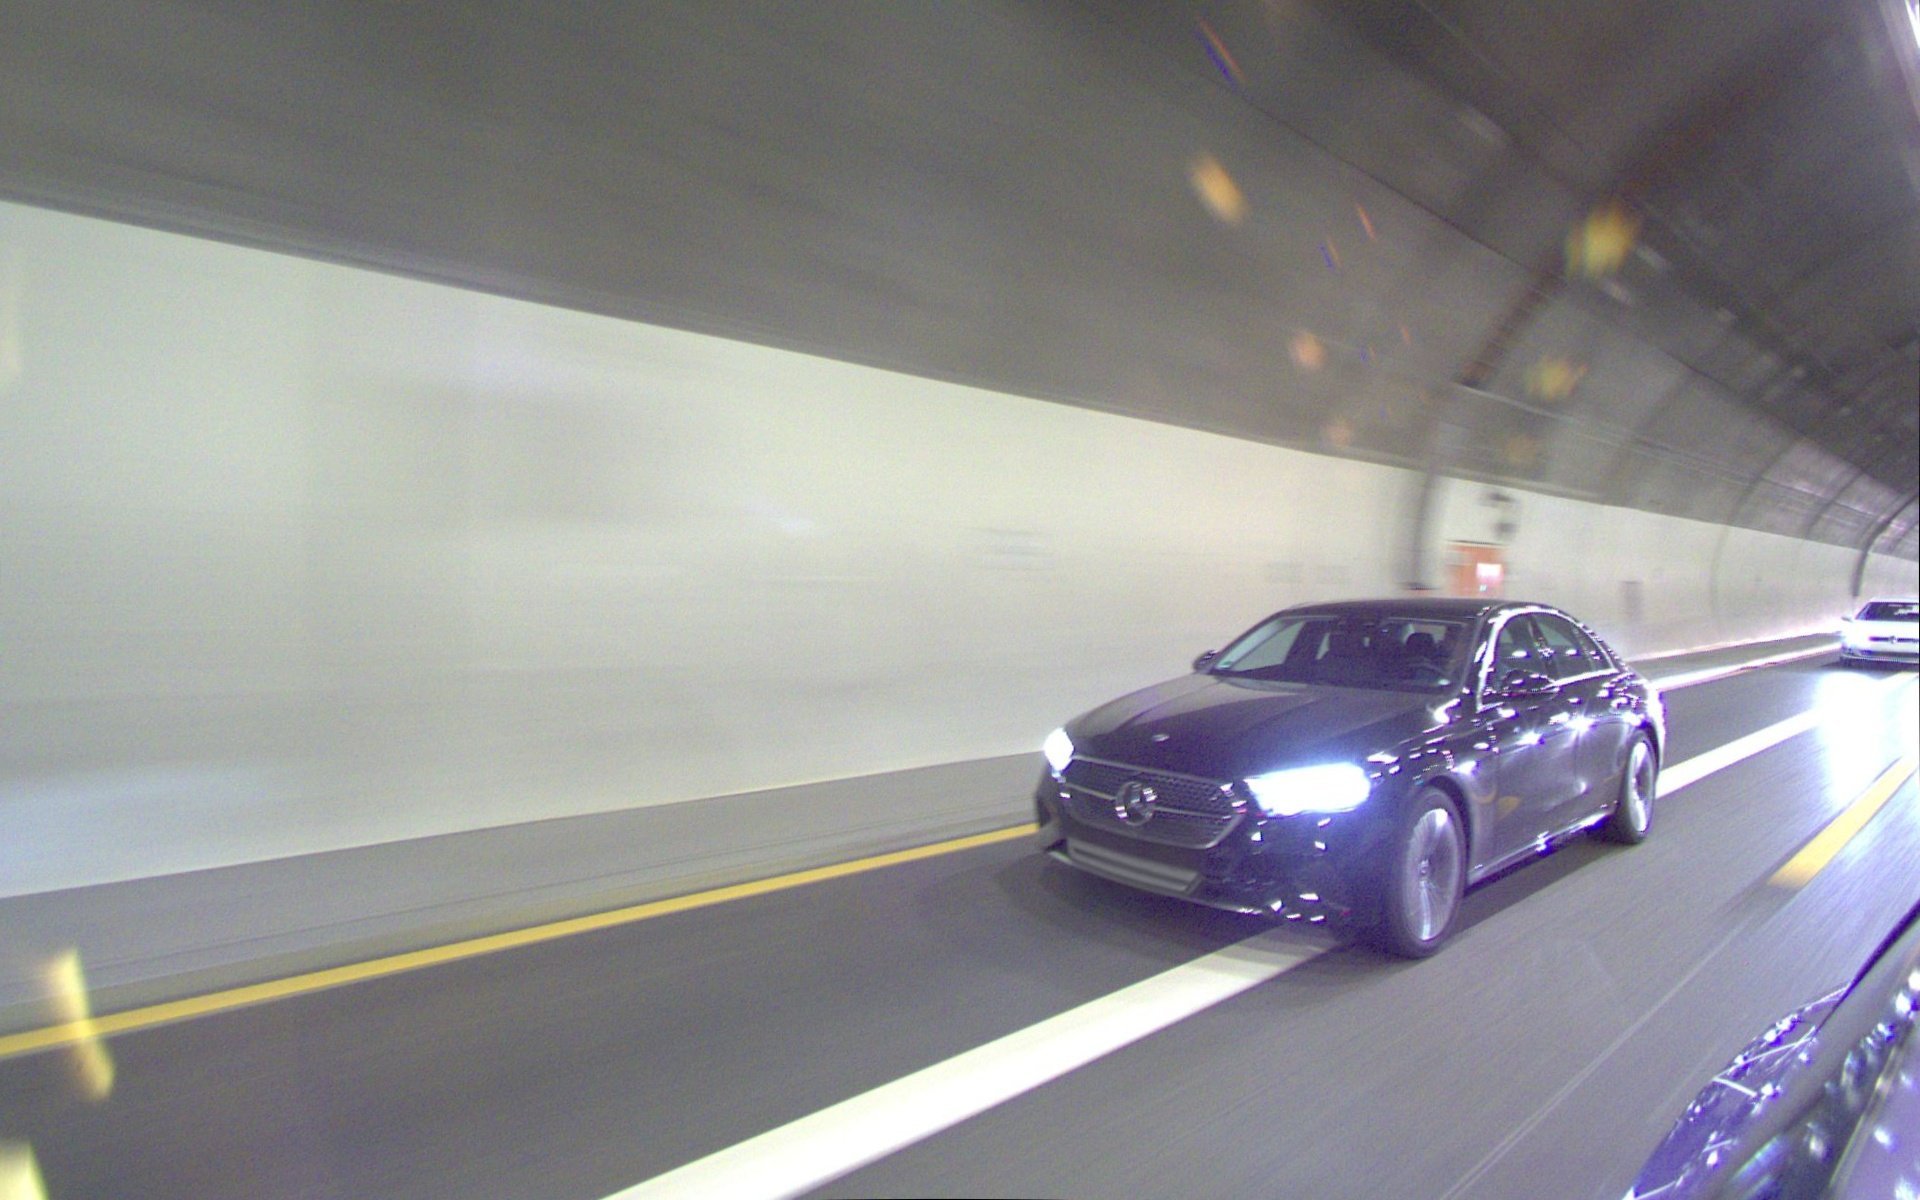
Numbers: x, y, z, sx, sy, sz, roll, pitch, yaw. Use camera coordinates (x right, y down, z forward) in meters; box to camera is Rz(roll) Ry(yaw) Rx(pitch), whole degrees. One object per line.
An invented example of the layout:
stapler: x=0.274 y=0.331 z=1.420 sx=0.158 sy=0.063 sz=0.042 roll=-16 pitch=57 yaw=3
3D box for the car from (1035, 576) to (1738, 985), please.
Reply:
car: x=2.867 y=0.644 z=6.117 sx=4.867 sy=1.490 sz=1.930 roll=0 pitch=3 yaw=-41

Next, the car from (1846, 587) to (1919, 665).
car: x=20.024 y=0.512 z=21.012 sx=3.962 sy=1.479 sz=1.801 roll=0 pitch=1 yaw=-39
